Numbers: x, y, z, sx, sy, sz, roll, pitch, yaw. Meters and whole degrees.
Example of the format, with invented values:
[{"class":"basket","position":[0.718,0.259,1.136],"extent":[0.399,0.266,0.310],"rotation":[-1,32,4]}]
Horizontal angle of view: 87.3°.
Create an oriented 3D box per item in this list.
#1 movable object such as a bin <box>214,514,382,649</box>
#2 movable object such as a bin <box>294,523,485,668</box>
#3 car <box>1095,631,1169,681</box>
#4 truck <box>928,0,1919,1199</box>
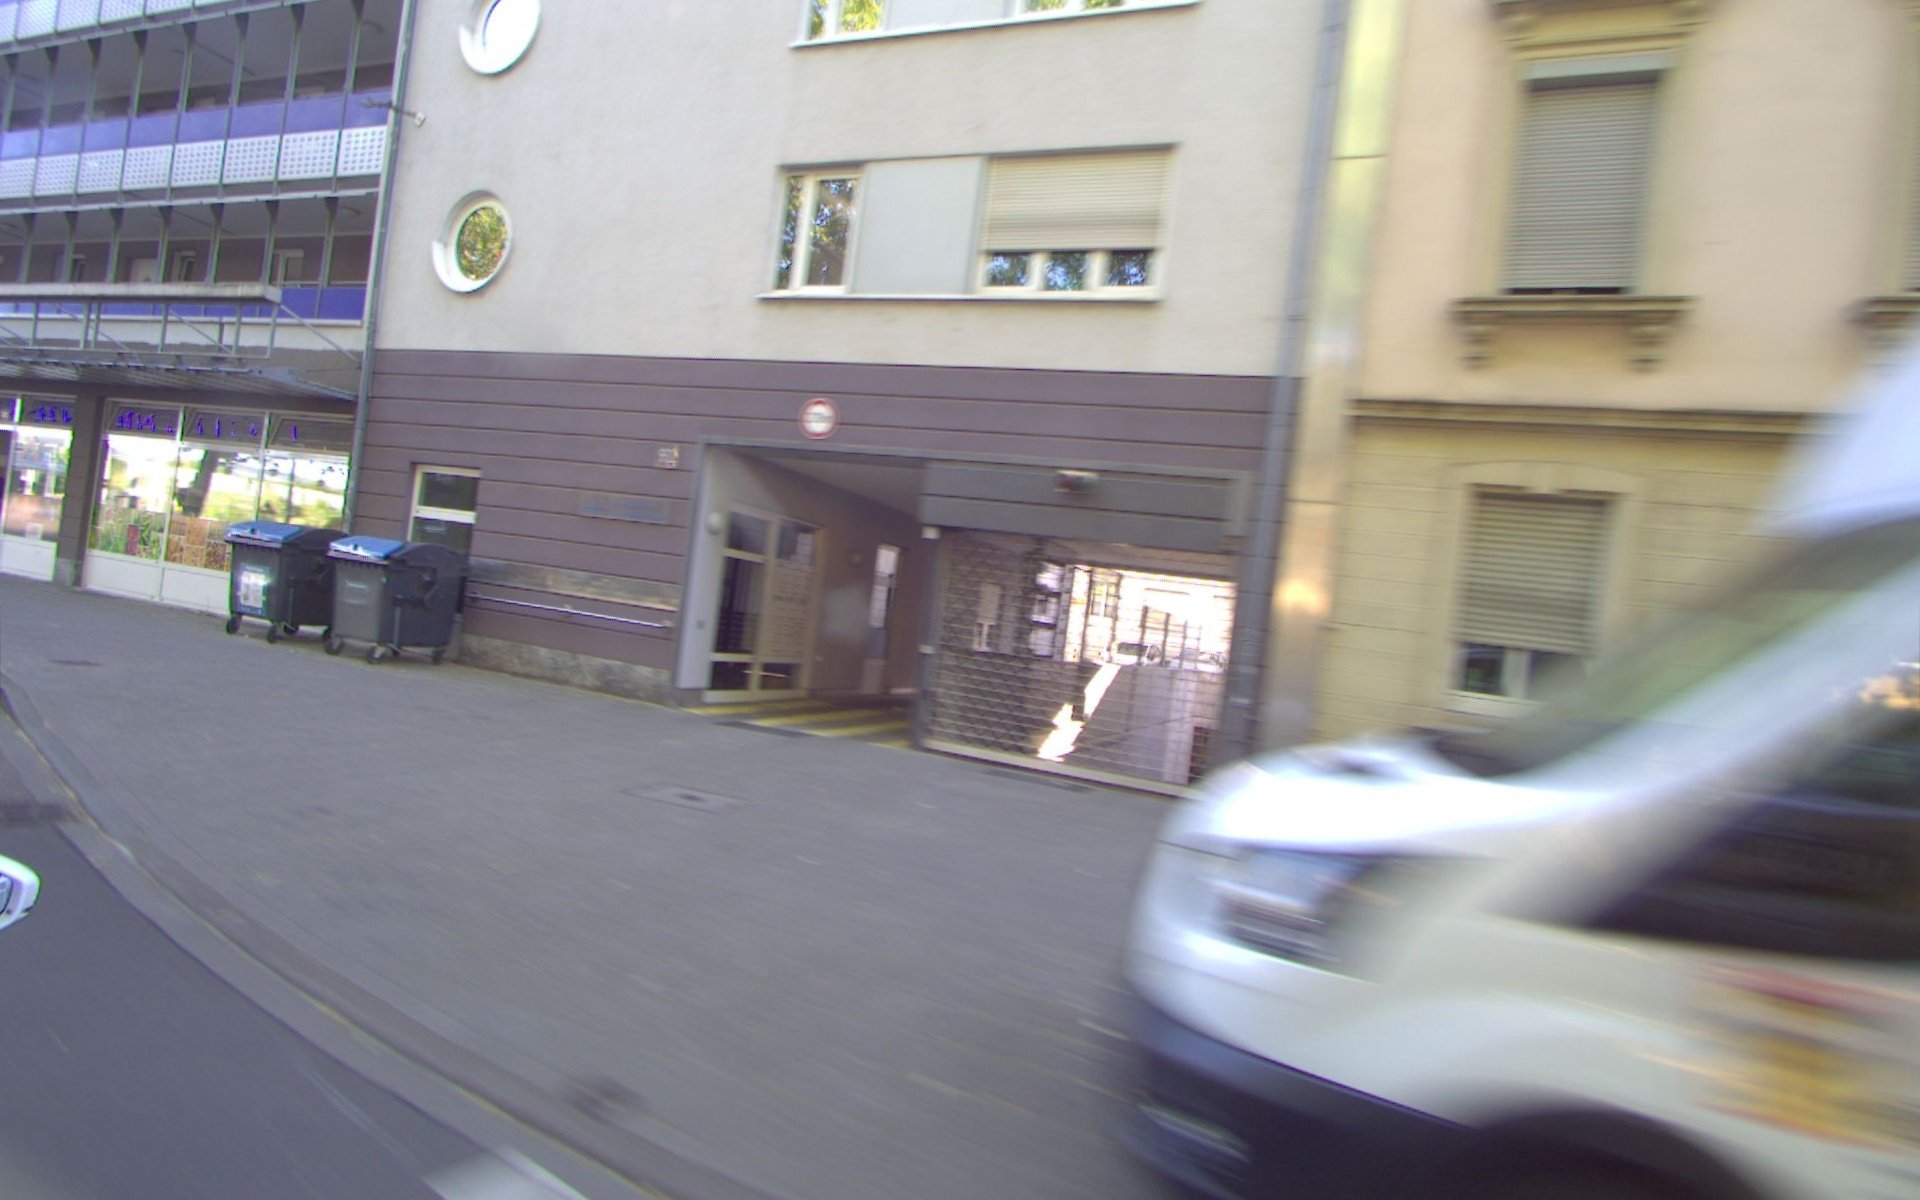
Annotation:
[{"class":"movable object such as a bin","position":[-8.341,-0.217,12.702],"extent":[1.362,1.503,1.113],"rotation":[7,2,23]},{"class":"movable object such as a bin","position":[-6.826,-0.052,12.076],"extent":[1.566,1.503,1.189],"rotation":[7,1,23]},{"class":"car","position":[6.488,2.138,37.551],"extent":[1.754,1.525,4.002],"rotation":[8,-2,22]},{"class":"truck","position":[3.779,0.458,1.891],"extent":[7.064,3.382,2.543],"rotation":[7,2,23]}]
